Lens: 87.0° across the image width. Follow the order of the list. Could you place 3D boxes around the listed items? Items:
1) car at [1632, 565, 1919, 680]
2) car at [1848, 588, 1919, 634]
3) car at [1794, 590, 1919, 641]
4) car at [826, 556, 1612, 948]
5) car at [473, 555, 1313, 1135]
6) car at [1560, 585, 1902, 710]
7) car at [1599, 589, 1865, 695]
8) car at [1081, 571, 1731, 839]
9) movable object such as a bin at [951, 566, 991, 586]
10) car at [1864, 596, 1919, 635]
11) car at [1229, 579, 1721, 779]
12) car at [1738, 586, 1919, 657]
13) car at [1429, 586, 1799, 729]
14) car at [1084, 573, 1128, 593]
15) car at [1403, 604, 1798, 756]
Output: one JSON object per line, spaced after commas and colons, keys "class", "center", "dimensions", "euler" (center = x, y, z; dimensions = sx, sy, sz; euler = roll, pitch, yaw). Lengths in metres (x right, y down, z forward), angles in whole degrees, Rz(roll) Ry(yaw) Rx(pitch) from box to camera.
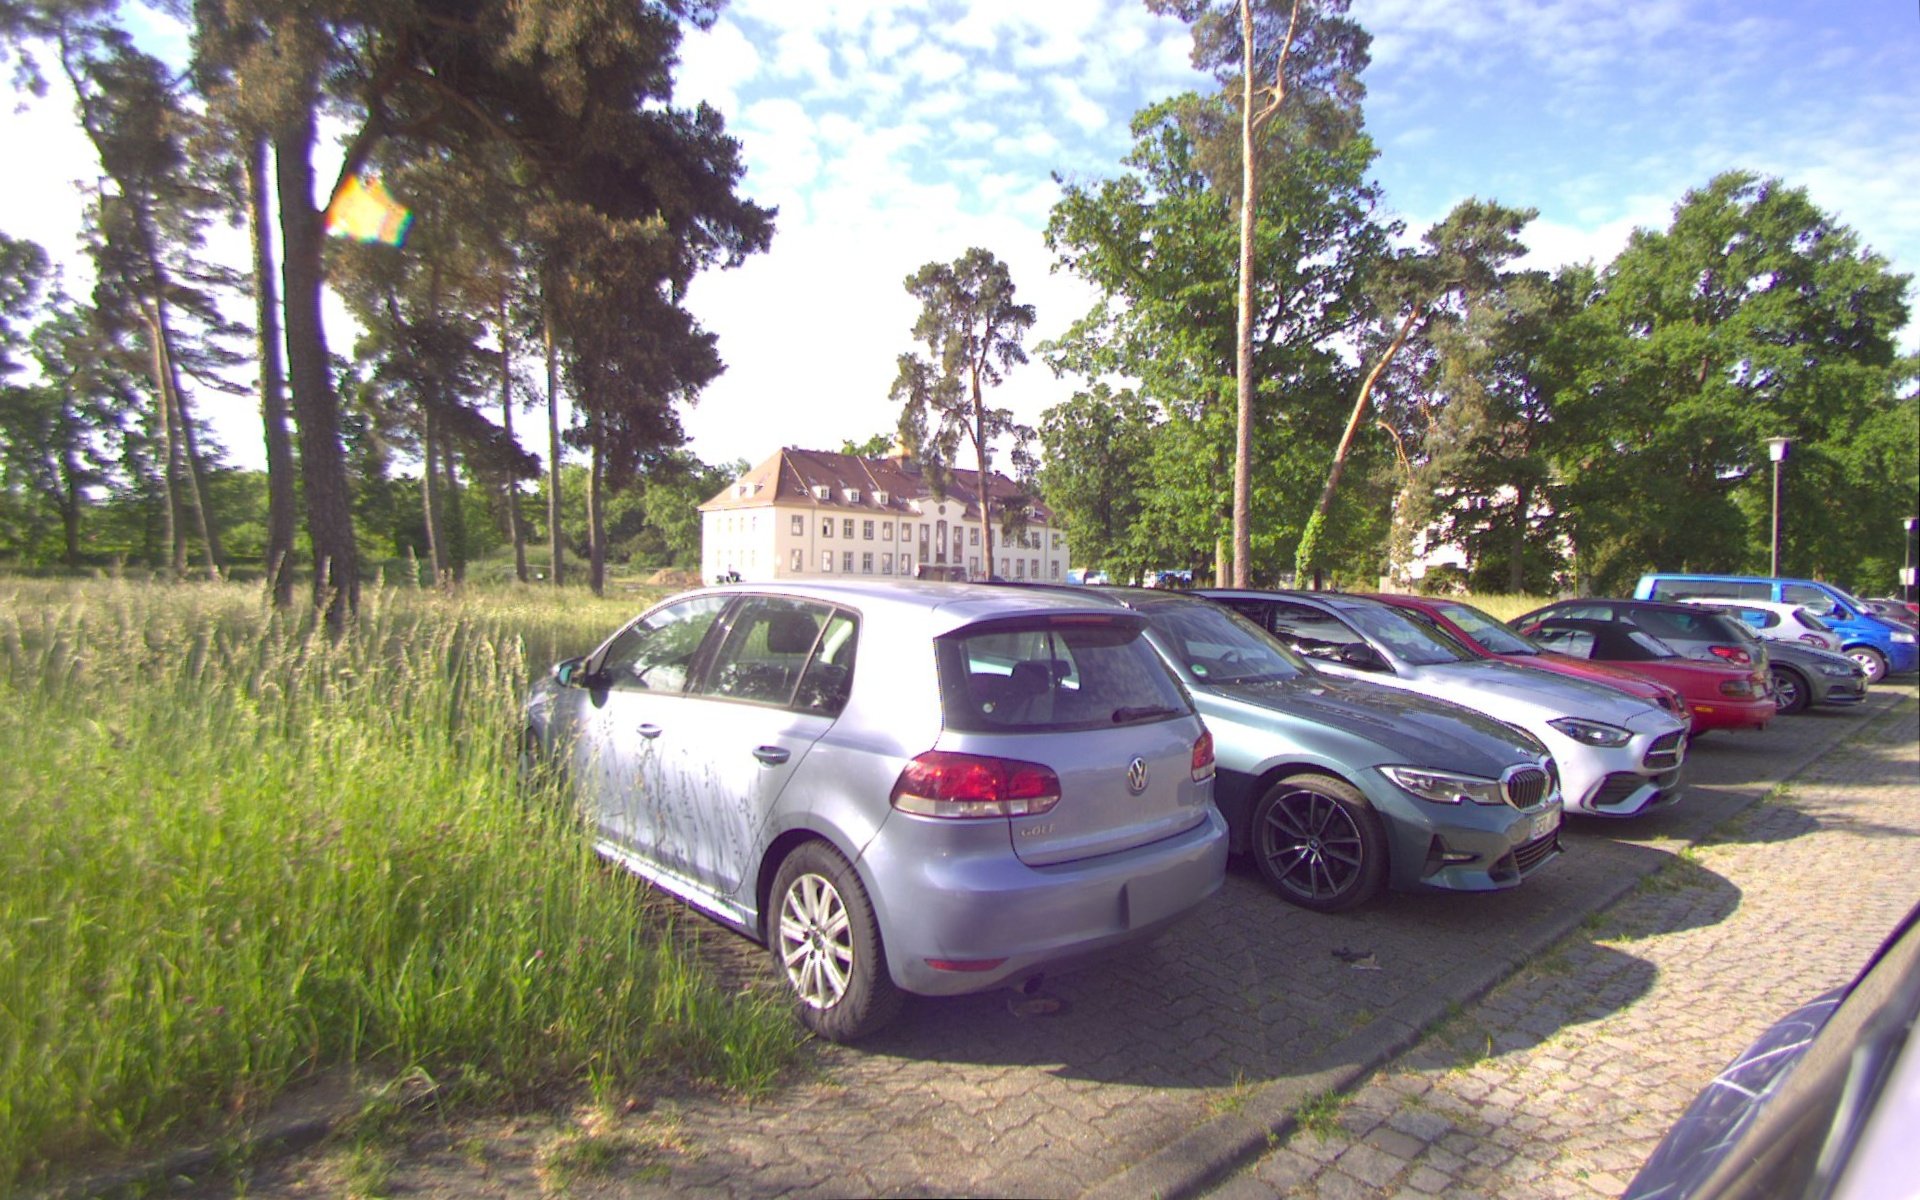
{"class": "car", "center": [16.604, 0.345, 20.414], "dimensions": [1.965, 2.039, 4.725], "euler": [0, 2, -40]}
{"class": "car", "center": [37.938, 0.426, 40.029], "dimensions": [1.725, 1.763, 3.996], "euler": [0, 0, -39]}
{"class": "car", "center": [30.368, 0.484, 33.476], "dimensions": [1.725, 1.537, 3.997], "euler": [0, 2, -39]}
{"class": "car", "center": [1.252, 0.551, 6.379], "dimensions": [1.796, 1.535, 4.498], "euler": [0, 3, -45]}
{"class": "car", "center": [-0.683, 0.570, 4.749], "dimensions": [1.839, 1.478, 4.022], "euler": [0, 2, -42]}
{"class": "car", "center": [10.927, 0.575, 14.601], "dimensions": [1.478, 1.509, 3.629], "euler": [0, 1, -32]}
{"class": "car", "center": [12.719, 0.609, 16.814], "dimensions": [1.423, 1.509, 3.264], "euler": [0, 2, -39]}
{"class": "car", "center": [3.256, 0.566, 8.152], "dimensions": [1.795, 1.419, 4.419], "euler": [0, 3, -42]}
{"class": "movable object such as a bin", "center": [1.406, -2.945, 123.016], "dimensions": [1.994, 2.352, 4.907], "euler": [2, 2, 44]}
{"class": "car", "center": [41.427, 0.660, 43.185], "dimensions": [1.724, 1.635, 3.997], "euler": [-1, 0, -37]}
{"class": "car", "center": [4.778, 0.578, 9.827], "dimensions": [1.632, 1.410, 3.914], "euler": [0, 3, -42]}
{"class": "car", "center": [23.020, 0.502, 26.412], "dimensions": [1.725, 1.660, 3.997], "euler": [0, 2, -39]}
{"class": "car", "center": [8.337, 0.616, 13.161], "dimensions": [1.523, 1.509, 3.775], "euler": [0, 2, -42]}
{"class": "car", "center": [15.248, -1.769, 105.810], "dimensions": [4.689, 2.039, 1.997], "euler": [0, 1, -41]}
{"class": "car", "center": [6.773, 0.738, 10.946], "dimensions": [1.396, 1.271, 3.353], "euler": [0, 2, -42]}
